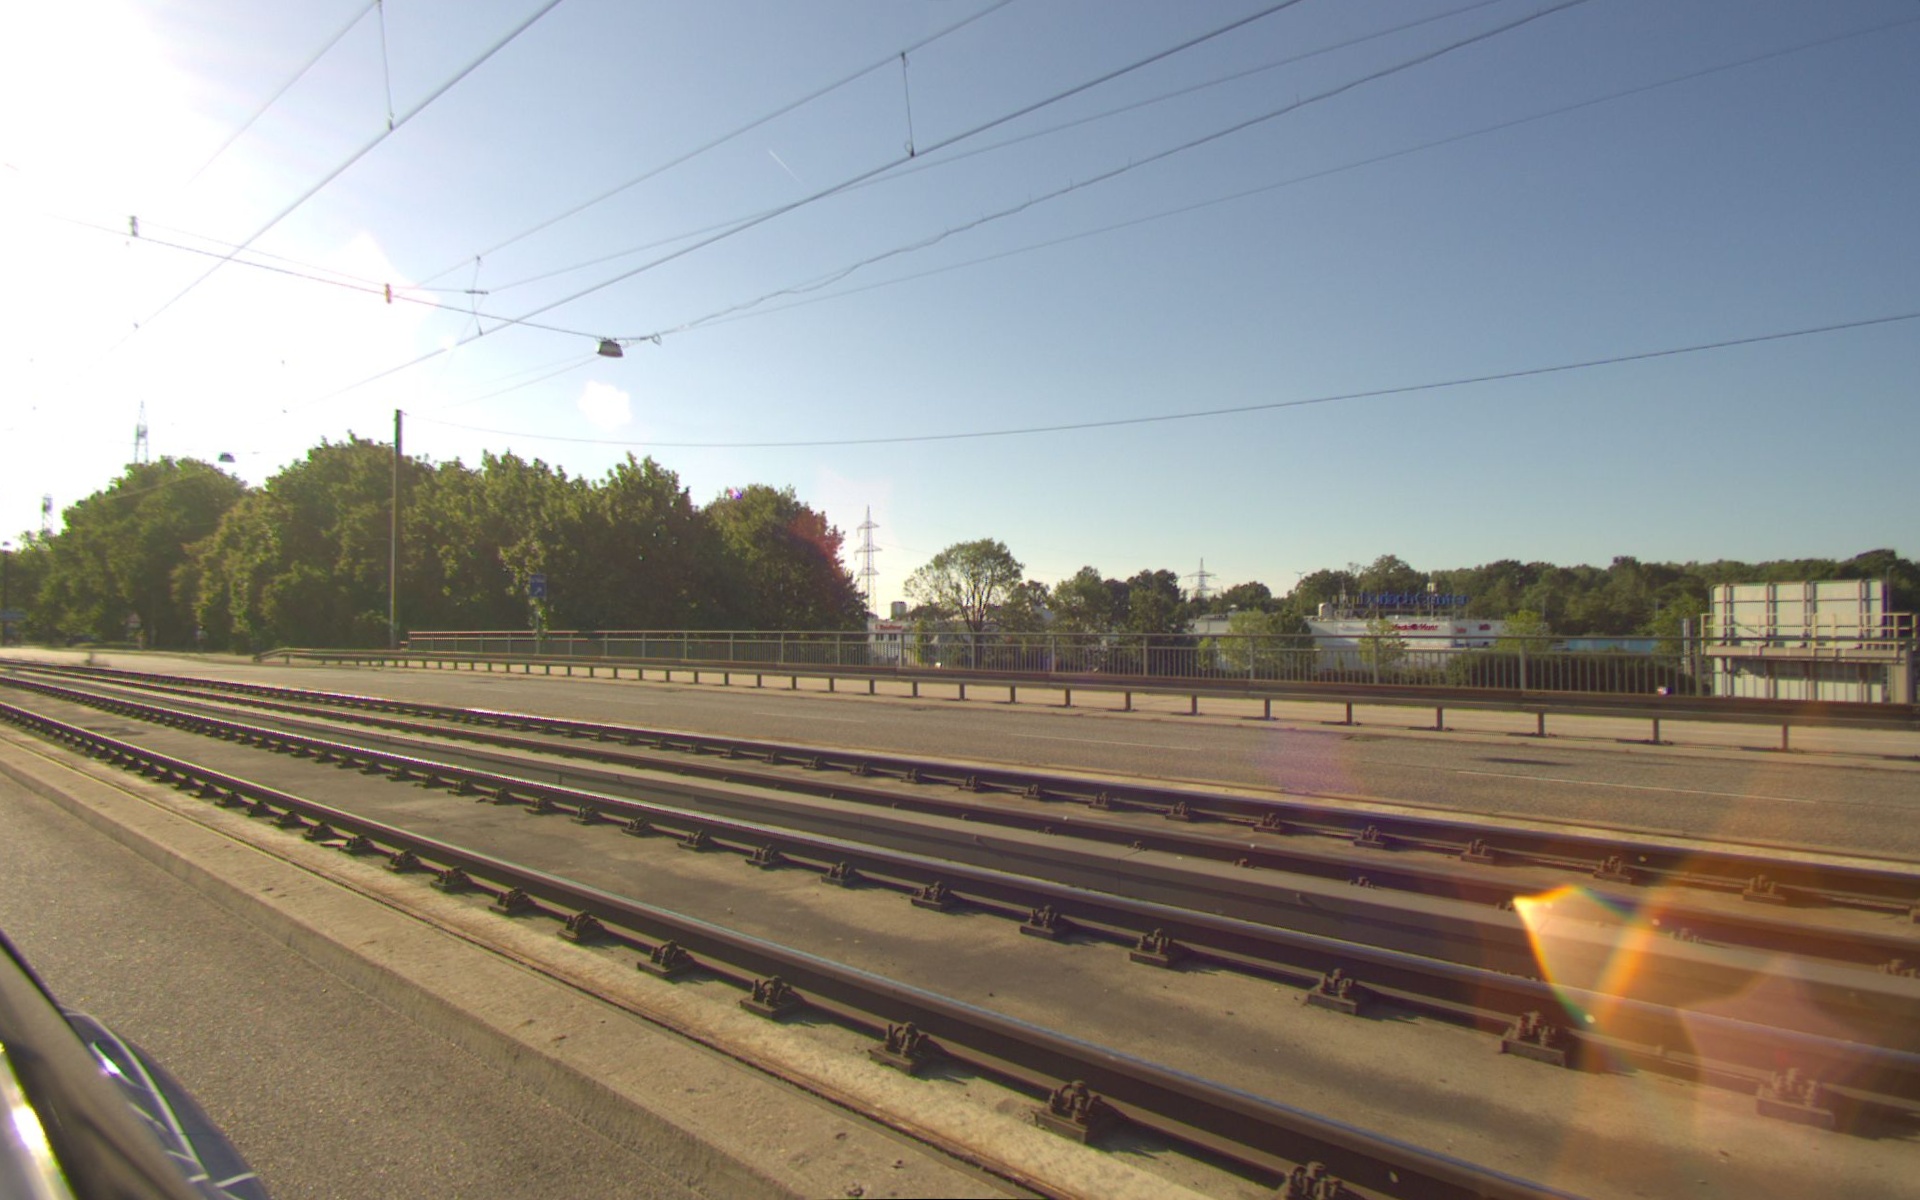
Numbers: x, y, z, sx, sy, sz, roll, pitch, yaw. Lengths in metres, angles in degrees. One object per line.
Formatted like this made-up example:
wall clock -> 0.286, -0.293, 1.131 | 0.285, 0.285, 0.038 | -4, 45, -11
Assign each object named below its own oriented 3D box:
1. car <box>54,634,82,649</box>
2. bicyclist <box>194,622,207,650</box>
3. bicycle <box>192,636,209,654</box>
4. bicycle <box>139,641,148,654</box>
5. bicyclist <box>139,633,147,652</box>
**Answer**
car -> -105.194, 4.879, 119.360 | 3.955, 1.533, 1.952 | -1, -1, 41
bicyclist -> -48.287, 2.291, 64.326 | 0.832, 1.764, 0.492 | -1, -1, 40
bicycle -> -48.287, 2.846, 64.331 | 1.726, 1.060, 0.498 | -1, -1, 40
bicycle -> -63.267, 3.675, 78.399 | 0.420, 0.971, 1.914 | 0, -1, -44
bicyclist -> -63.243, 3.309, 78.362 | 0.417, 1.439, 0.755 | 0, -1, -44
